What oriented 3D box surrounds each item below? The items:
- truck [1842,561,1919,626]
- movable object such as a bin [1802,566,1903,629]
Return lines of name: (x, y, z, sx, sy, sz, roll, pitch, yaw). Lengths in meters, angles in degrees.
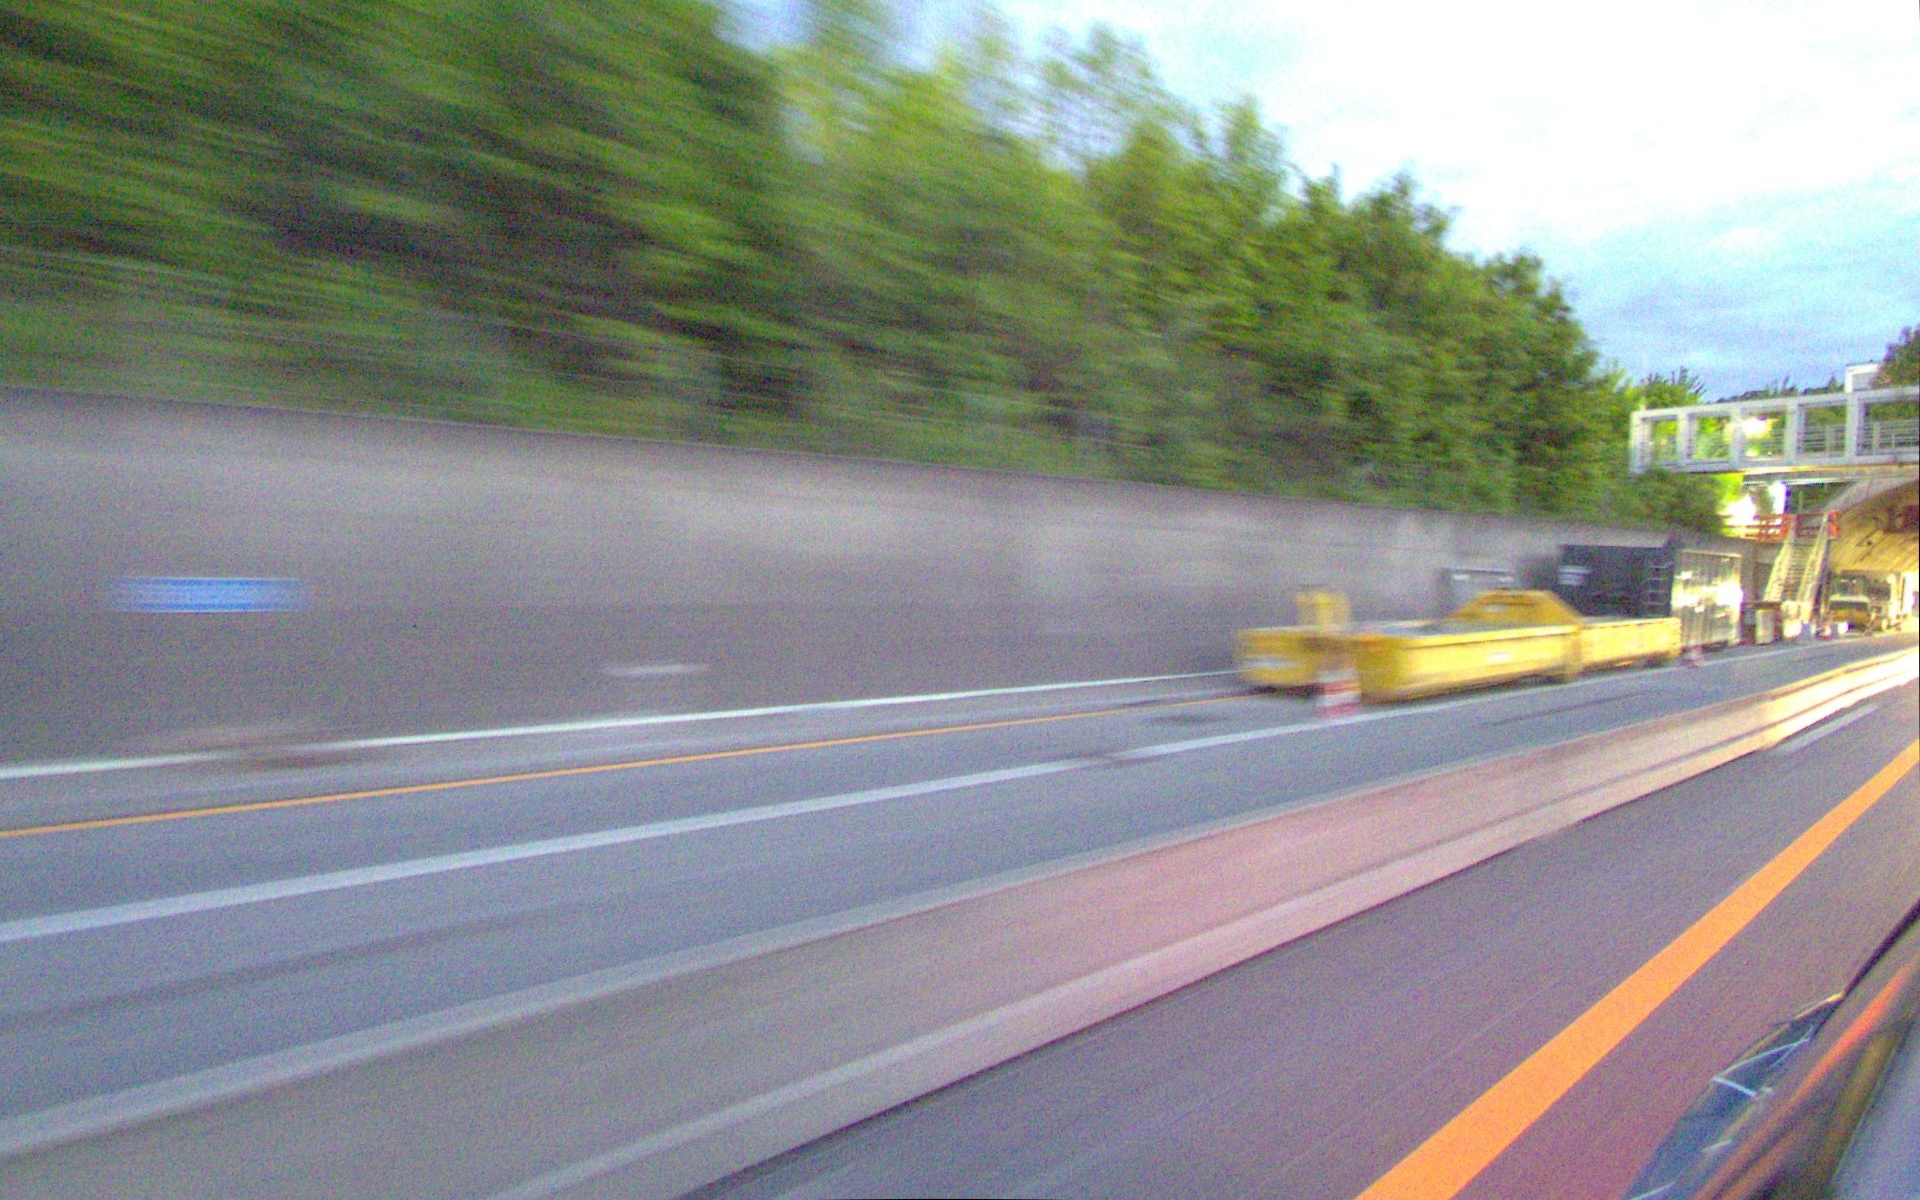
truck: (51.357, -0.355, 55.826, 8.205, 3.327, 2.823, -1, 0, -40)
movable object such as a bin: (43.609, -0.124, 49.387, 7.074, 2.863, 2.973, -1, 0, -43)
